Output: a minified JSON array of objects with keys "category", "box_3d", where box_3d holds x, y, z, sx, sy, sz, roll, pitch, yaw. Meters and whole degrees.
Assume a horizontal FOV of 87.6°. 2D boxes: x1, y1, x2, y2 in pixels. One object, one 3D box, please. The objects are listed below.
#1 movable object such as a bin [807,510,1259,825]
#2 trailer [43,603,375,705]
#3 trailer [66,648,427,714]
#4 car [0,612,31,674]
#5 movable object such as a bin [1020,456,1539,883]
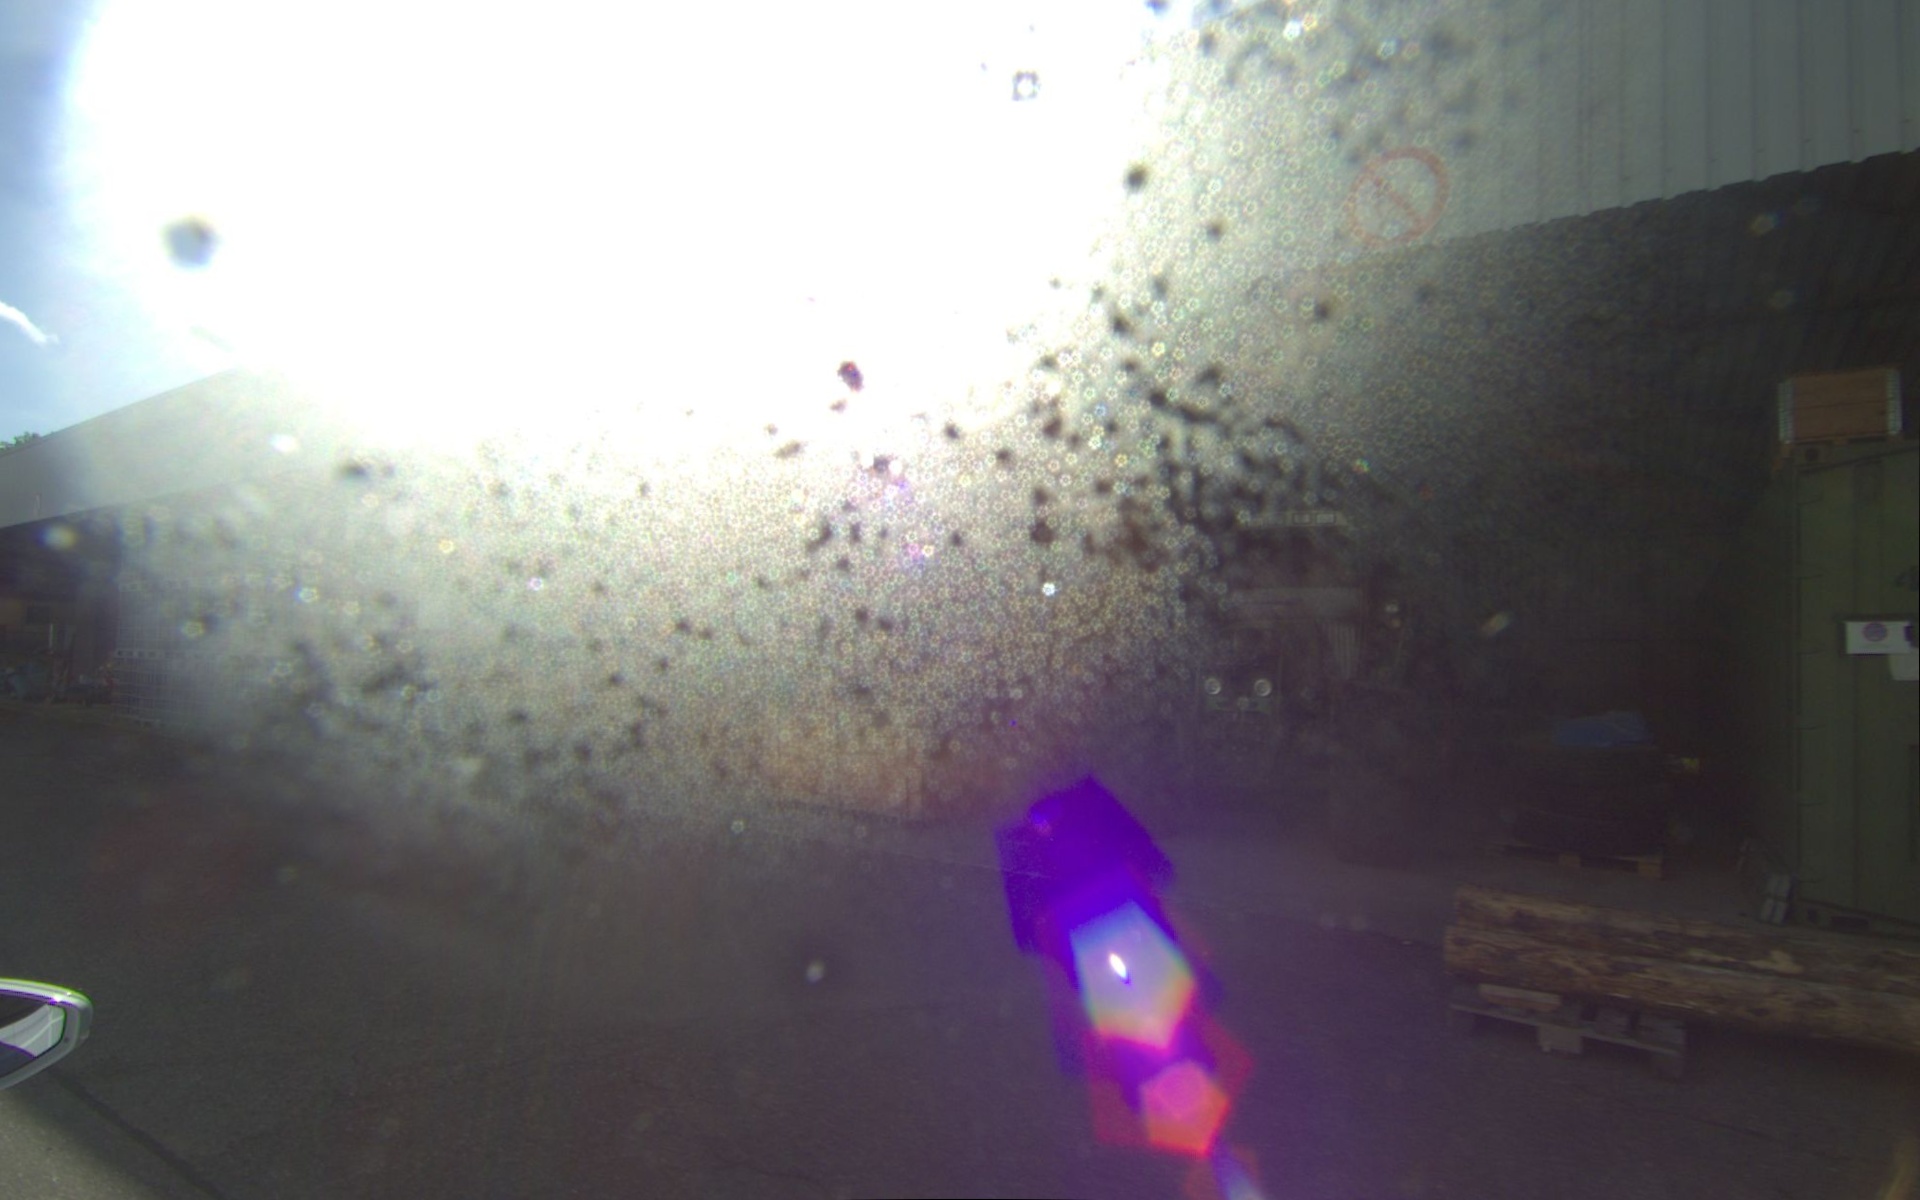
[{"category":"movable object such as a bin","box_3d":[1.326,0.892,12.779,2.976,2.944,6.176,0,-5,35]},{"category":"trailer","box_3d":[-17.159,1.315,23.263,2.050,2.057,5.755,0,-4,35]},{"category":"trailer","box_3d":[-14.750,1.710,21.178,2.111,1.147,5.842,0,-4,32]},{"category":"car","box_3d":[-39.045,1.549,38.516,1.891,2.335,4.427,-3,-8,35]},{"category":"movable object such as a bin","box_3d":[4.458,0.862,11.598,3.168,2.944,9.178,0,-5,35]}]
